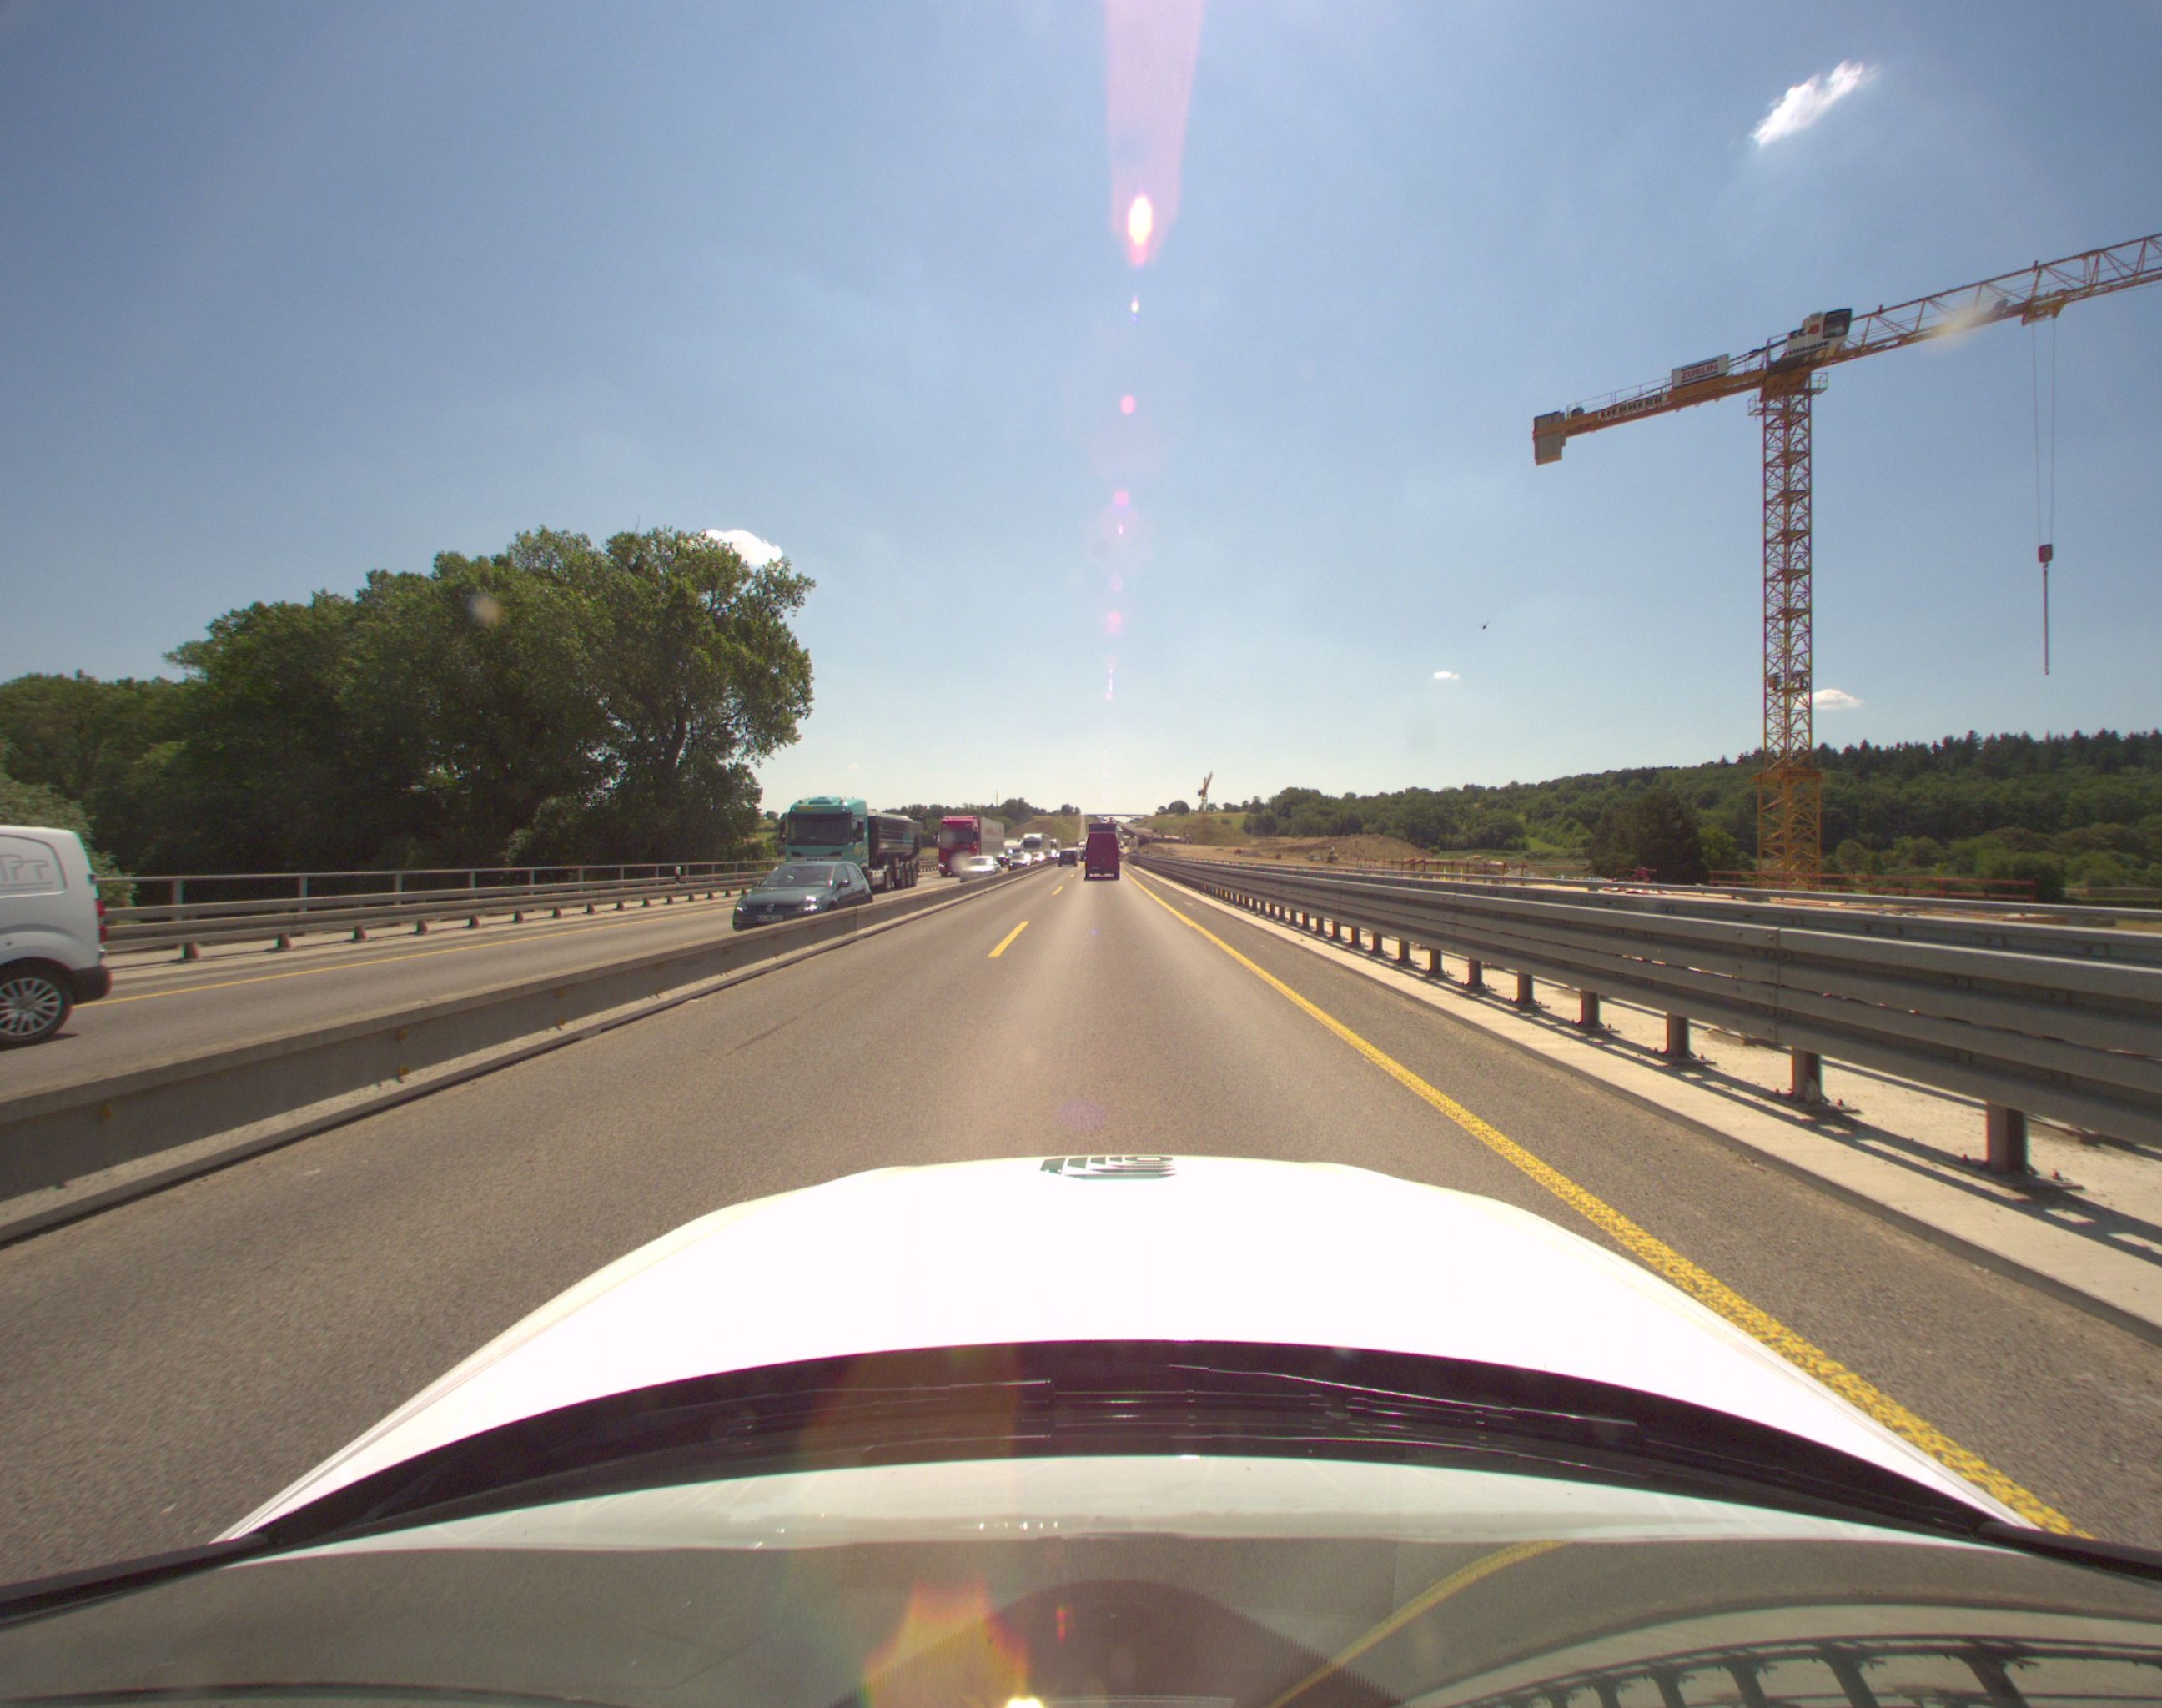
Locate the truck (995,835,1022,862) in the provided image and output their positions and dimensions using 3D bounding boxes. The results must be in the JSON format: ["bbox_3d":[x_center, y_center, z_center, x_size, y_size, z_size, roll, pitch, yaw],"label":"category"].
[{"bbox_3d":[-10.249,-0.780,115.948,2.893,3.764,8.371,0,1,2],"label":"truck"}]

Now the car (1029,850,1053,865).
[{"bbox_3d":[-4.071,0.368,83.455,1.892,1.461,4.198,1,-1,4],"label":"car"}]

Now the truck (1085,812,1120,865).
[{"bbox_3d":[1.963,-1.440,78.032,3.011,4.692,6.931,-2,0,0],"label":"truck"}]

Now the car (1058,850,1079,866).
[{"bbox_3d":[-1.208,0.343,80.301,2.005,1.545,4.132,-1,0,0],"label":"car"}]

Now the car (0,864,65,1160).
[{"bbox_3d":[-5.986,0.791,1.994,1.673,1.392,4.157,-2,0,1],"label":"car"}]

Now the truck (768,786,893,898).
[{"bbox_3d":[-9.228,-0.413,30.677,2.787,3.722,5.374,-3,0,1],"label":"truck"}]

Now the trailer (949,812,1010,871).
[{"bbox_3d":[-7.770,-0.959,63.920,2.795,4.176,11.806,0,1,2],"label":"trailer"}]

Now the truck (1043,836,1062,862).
[{"bbox_3d":[-4.984,-0.859,142.944,2.795,4.392,6.229,-1,0,2],"label":"truck"}]

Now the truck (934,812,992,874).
[{"bbox_3d":[-8.058,-0.741,56.507,2.805,4.037,6.525,0,1,2],"label":"truck"}]

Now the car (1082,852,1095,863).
[{"bbox_3d":[1.167,0.514,125.636,2.005,1.545,4.133,1,1,1],"label":"car"}]

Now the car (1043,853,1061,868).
[{"bbox_3d":[-3.435,0.814,97.363,1.841,1.688,4.619,1,-1,1],"label":"car"}]

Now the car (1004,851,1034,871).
[{"bbox_3d":[-4.873,0.529,64.834,1.883,1.487,4.921,2,0,1],"label":"car"}]

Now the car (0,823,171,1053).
[{"bbox_3d":[-9.733,0.711,5.499,1.852,1.867,4.631,-2,0,1],"label":"car"}]

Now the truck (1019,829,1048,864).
[{"bbox_3d":[-6.391,-0.961,110.686,3.065,4.536,7.107,-1,0,3],"label":"truck"}]

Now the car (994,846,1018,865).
[{"bbox_3d":[-7.263,0.095,79.160,1.761,1.734,4.793,1,0,2],"label":"car"}]

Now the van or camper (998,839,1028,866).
[{"bbox_3d":[-7.149,-0.198,86.445,2.493,2.698,5.247,-1,0,2],"label":"van or camper"}]

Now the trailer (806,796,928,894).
[{"bbox_3d":[-9.112,-0.340,35.992,2.785,3.672,8.956,-3,0,0],"label":"trailer"}]

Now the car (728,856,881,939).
[{"bbox_3d":[-5.482,0.786,16.725,1.625,1.408,4.104,-2,0,1],"label":"car"}]

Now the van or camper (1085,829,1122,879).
[{"bbox_3d":[1.259,-0.030,47.028,2.023,2.744,4.515,0,0,0],"label":"van or camper"}]

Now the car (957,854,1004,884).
[{"bbox_3d":[-5.159,0.743,42.319,1.775,1.379,4.711,-2,0,0],"label":"car"}]
